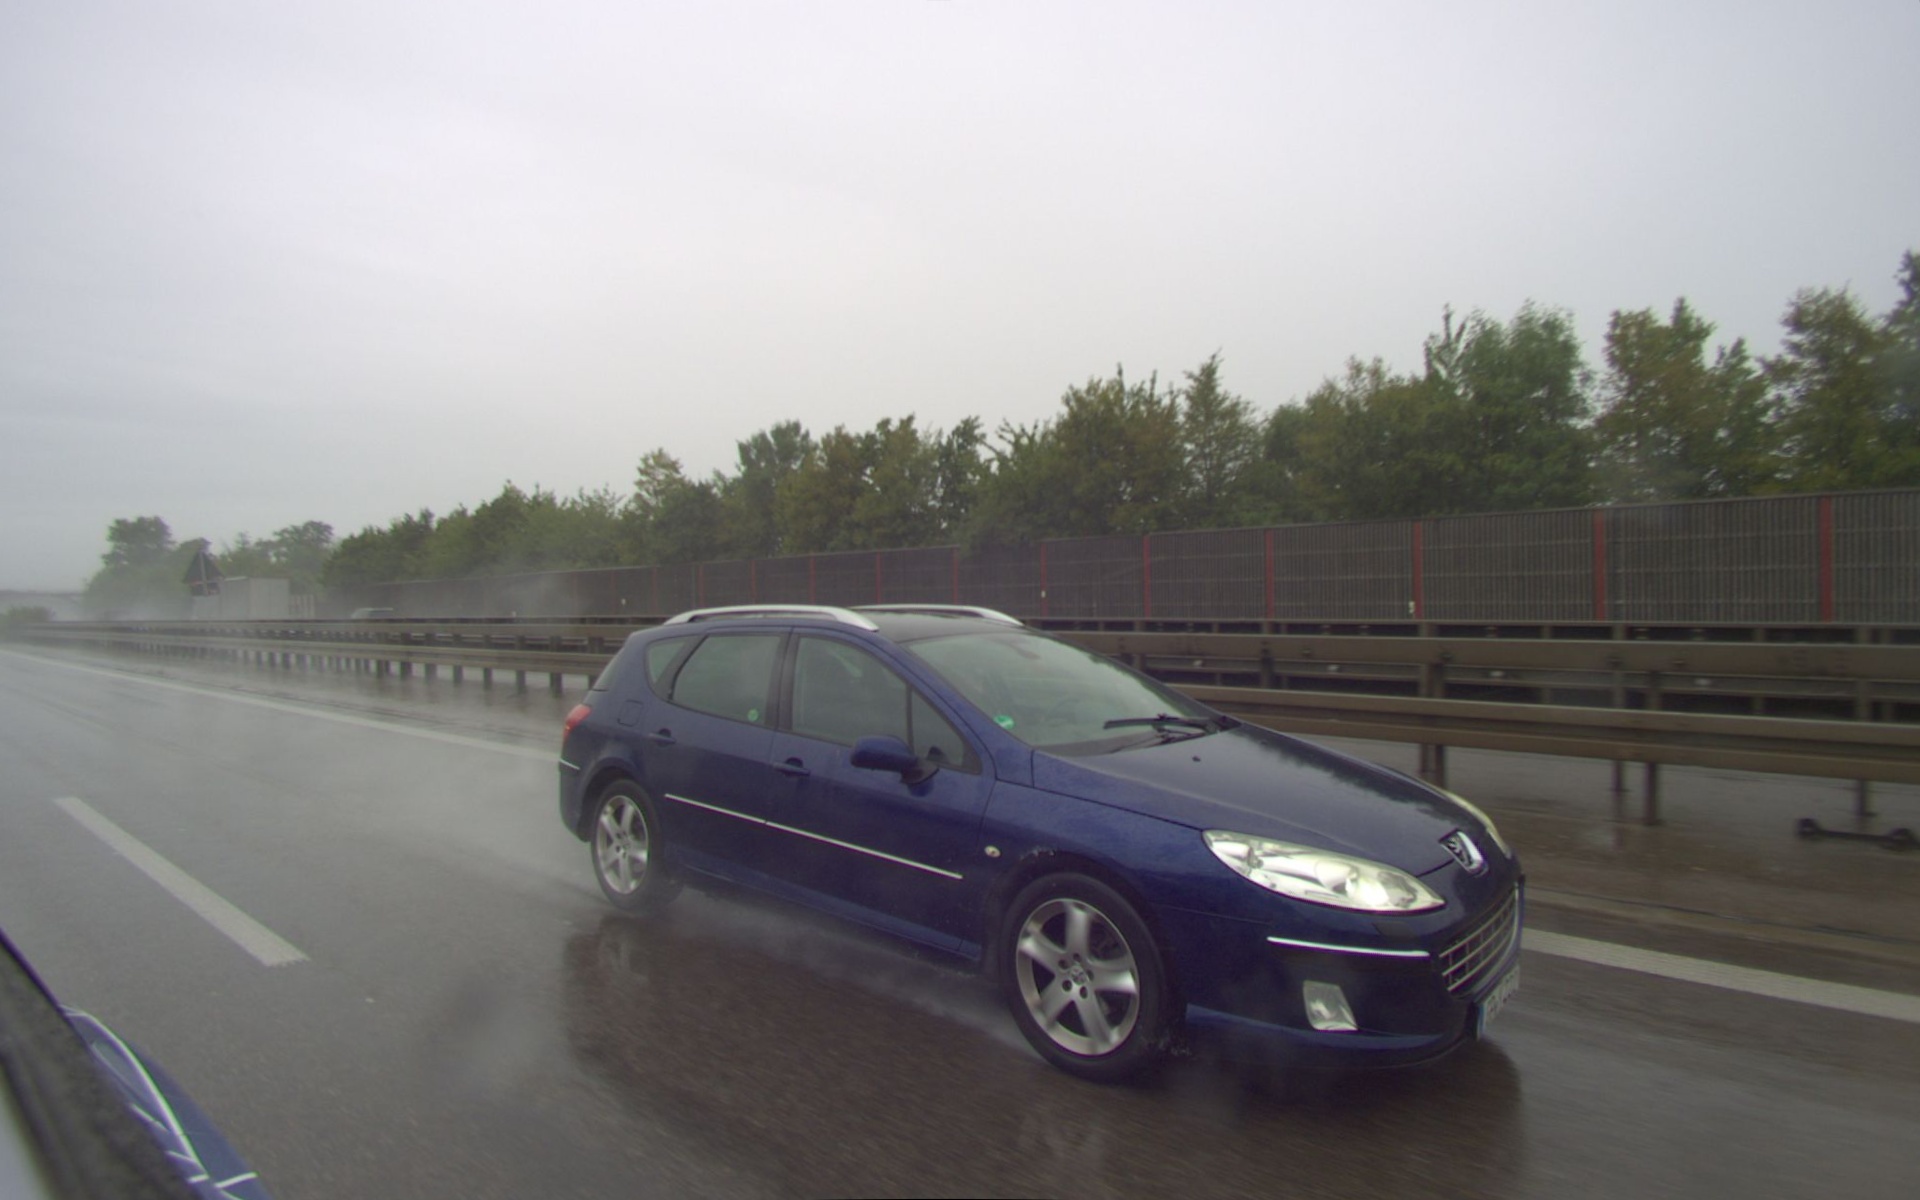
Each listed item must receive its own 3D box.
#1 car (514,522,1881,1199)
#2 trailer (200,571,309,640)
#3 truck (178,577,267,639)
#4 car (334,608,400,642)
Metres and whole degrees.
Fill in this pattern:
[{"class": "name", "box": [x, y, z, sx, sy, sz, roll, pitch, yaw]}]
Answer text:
[{"class": "car", "box": [0.333, 0.652, 4.273, 5.154, 1.496, 2.033, -2, -1, 41]}, {"class": "trailer", "box": [-52.699, 0.477, 75.375, 12.237, 4.731, 3.829, -2, -1, 41]}, {"class": "truck", "box": [-59.278, 0.681, 81.213, 9.488, 4.674, 3.796, -2, -1, 41]}, {"class": "car", "box": [-32.275, 1.362, 55.076, 3.999, 1.748, 1.972, -1, 0, 42]}]
